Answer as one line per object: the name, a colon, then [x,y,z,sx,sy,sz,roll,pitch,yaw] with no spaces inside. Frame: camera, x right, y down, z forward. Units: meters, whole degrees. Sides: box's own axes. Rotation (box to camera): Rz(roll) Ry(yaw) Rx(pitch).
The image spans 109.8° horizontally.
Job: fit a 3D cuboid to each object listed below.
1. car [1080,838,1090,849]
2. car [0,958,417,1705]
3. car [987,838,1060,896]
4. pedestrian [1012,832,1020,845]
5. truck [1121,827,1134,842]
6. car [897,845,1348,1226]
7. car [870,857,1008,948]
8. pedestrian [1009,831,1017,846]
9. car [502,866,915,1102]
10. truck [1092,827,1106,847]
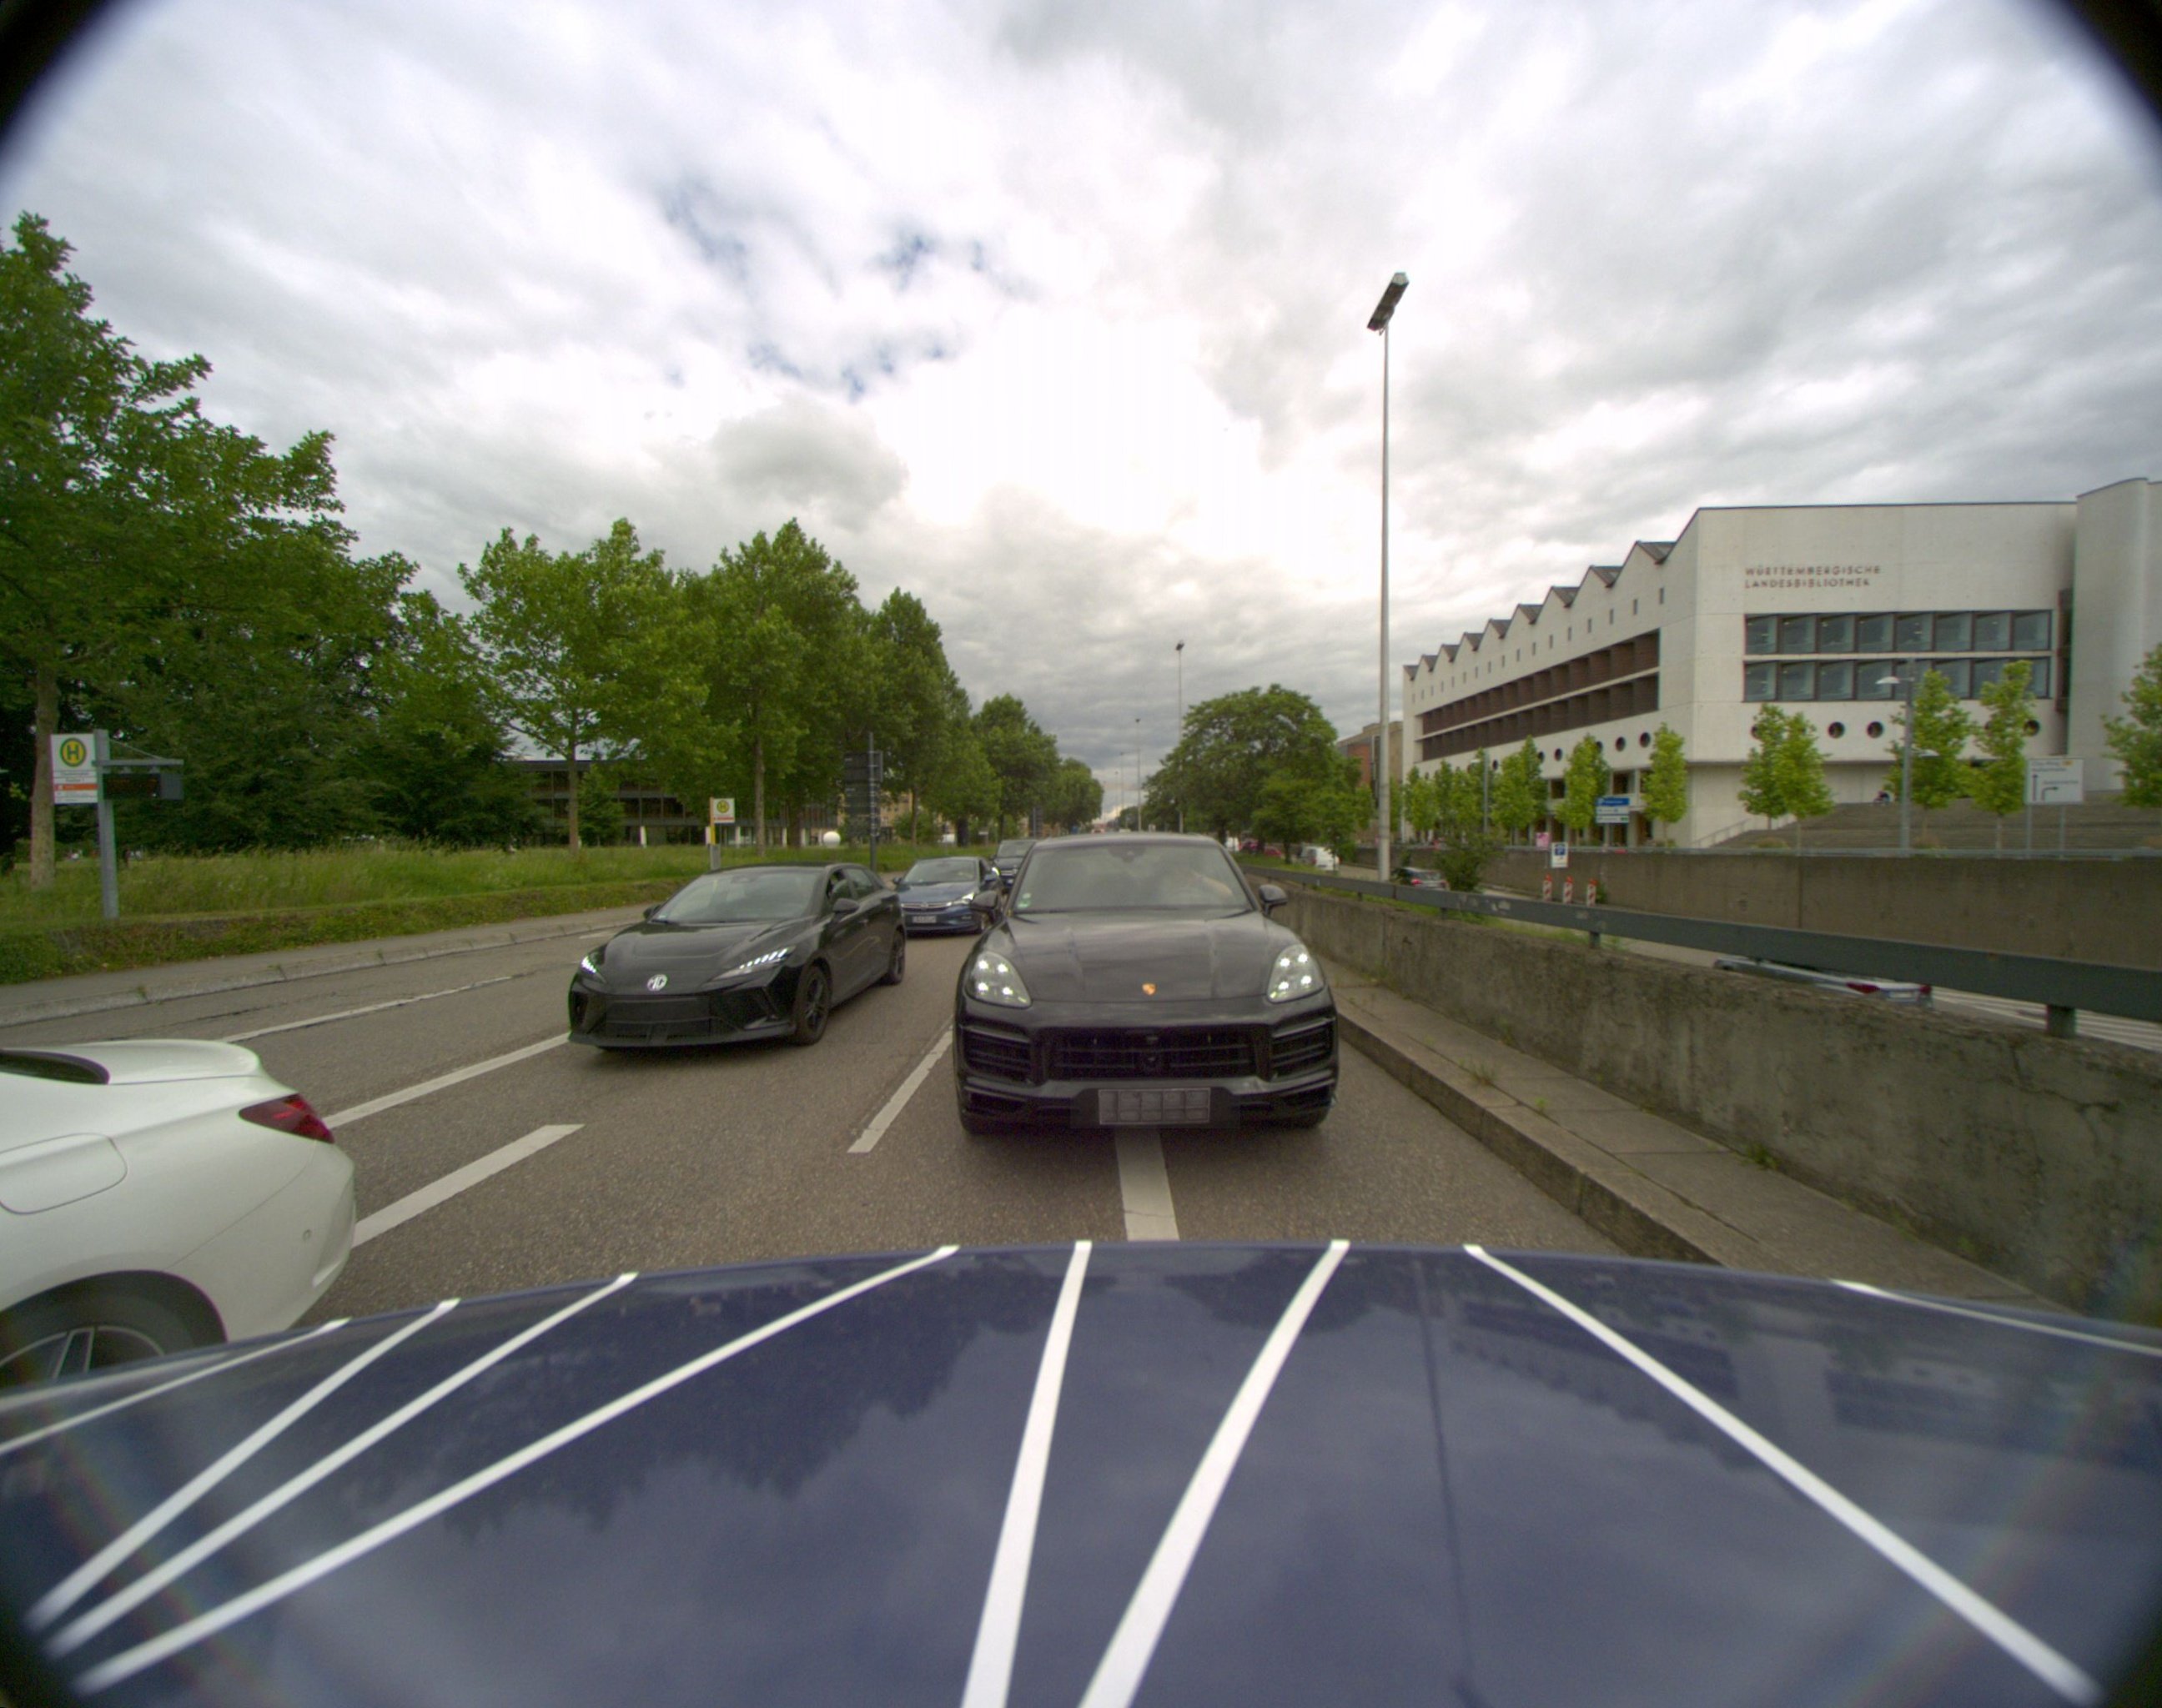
car: [0.834,-2.081,149.634,1.693,2.002,3.999,-3,2,2]
car: [-3.218,1.115,0.279,1.799,1.412,4.526,-1,1,2]
car: [-1.941,0.369,27.125,2.021,1.823,4.804,-1,1,2]
pedestrian: [-10.033,-2.380,117.500,0.892,2.002,1.181,-3,2,2]
truck: [10.774,-4.691,177.626,2.576,3.289,8.078,-3,2,2]
car: [0.302,0.767,5.630,1.904,1.581,4.732,-1,1,3]
car: [-2.614,0.841,14.981,1.805,1.426,4.015,-1,1,2]
pedestrian: [-9.853,-2.256,110.263,0.892,2.002,1.181,-3,2,2]
car: [-3.060,0.948,7.379,1.852,1.481,4.092,-1,1,2]
truck: [3.338,-3.320,142.625,2.357,3.518,9.423,-3,2,2]
